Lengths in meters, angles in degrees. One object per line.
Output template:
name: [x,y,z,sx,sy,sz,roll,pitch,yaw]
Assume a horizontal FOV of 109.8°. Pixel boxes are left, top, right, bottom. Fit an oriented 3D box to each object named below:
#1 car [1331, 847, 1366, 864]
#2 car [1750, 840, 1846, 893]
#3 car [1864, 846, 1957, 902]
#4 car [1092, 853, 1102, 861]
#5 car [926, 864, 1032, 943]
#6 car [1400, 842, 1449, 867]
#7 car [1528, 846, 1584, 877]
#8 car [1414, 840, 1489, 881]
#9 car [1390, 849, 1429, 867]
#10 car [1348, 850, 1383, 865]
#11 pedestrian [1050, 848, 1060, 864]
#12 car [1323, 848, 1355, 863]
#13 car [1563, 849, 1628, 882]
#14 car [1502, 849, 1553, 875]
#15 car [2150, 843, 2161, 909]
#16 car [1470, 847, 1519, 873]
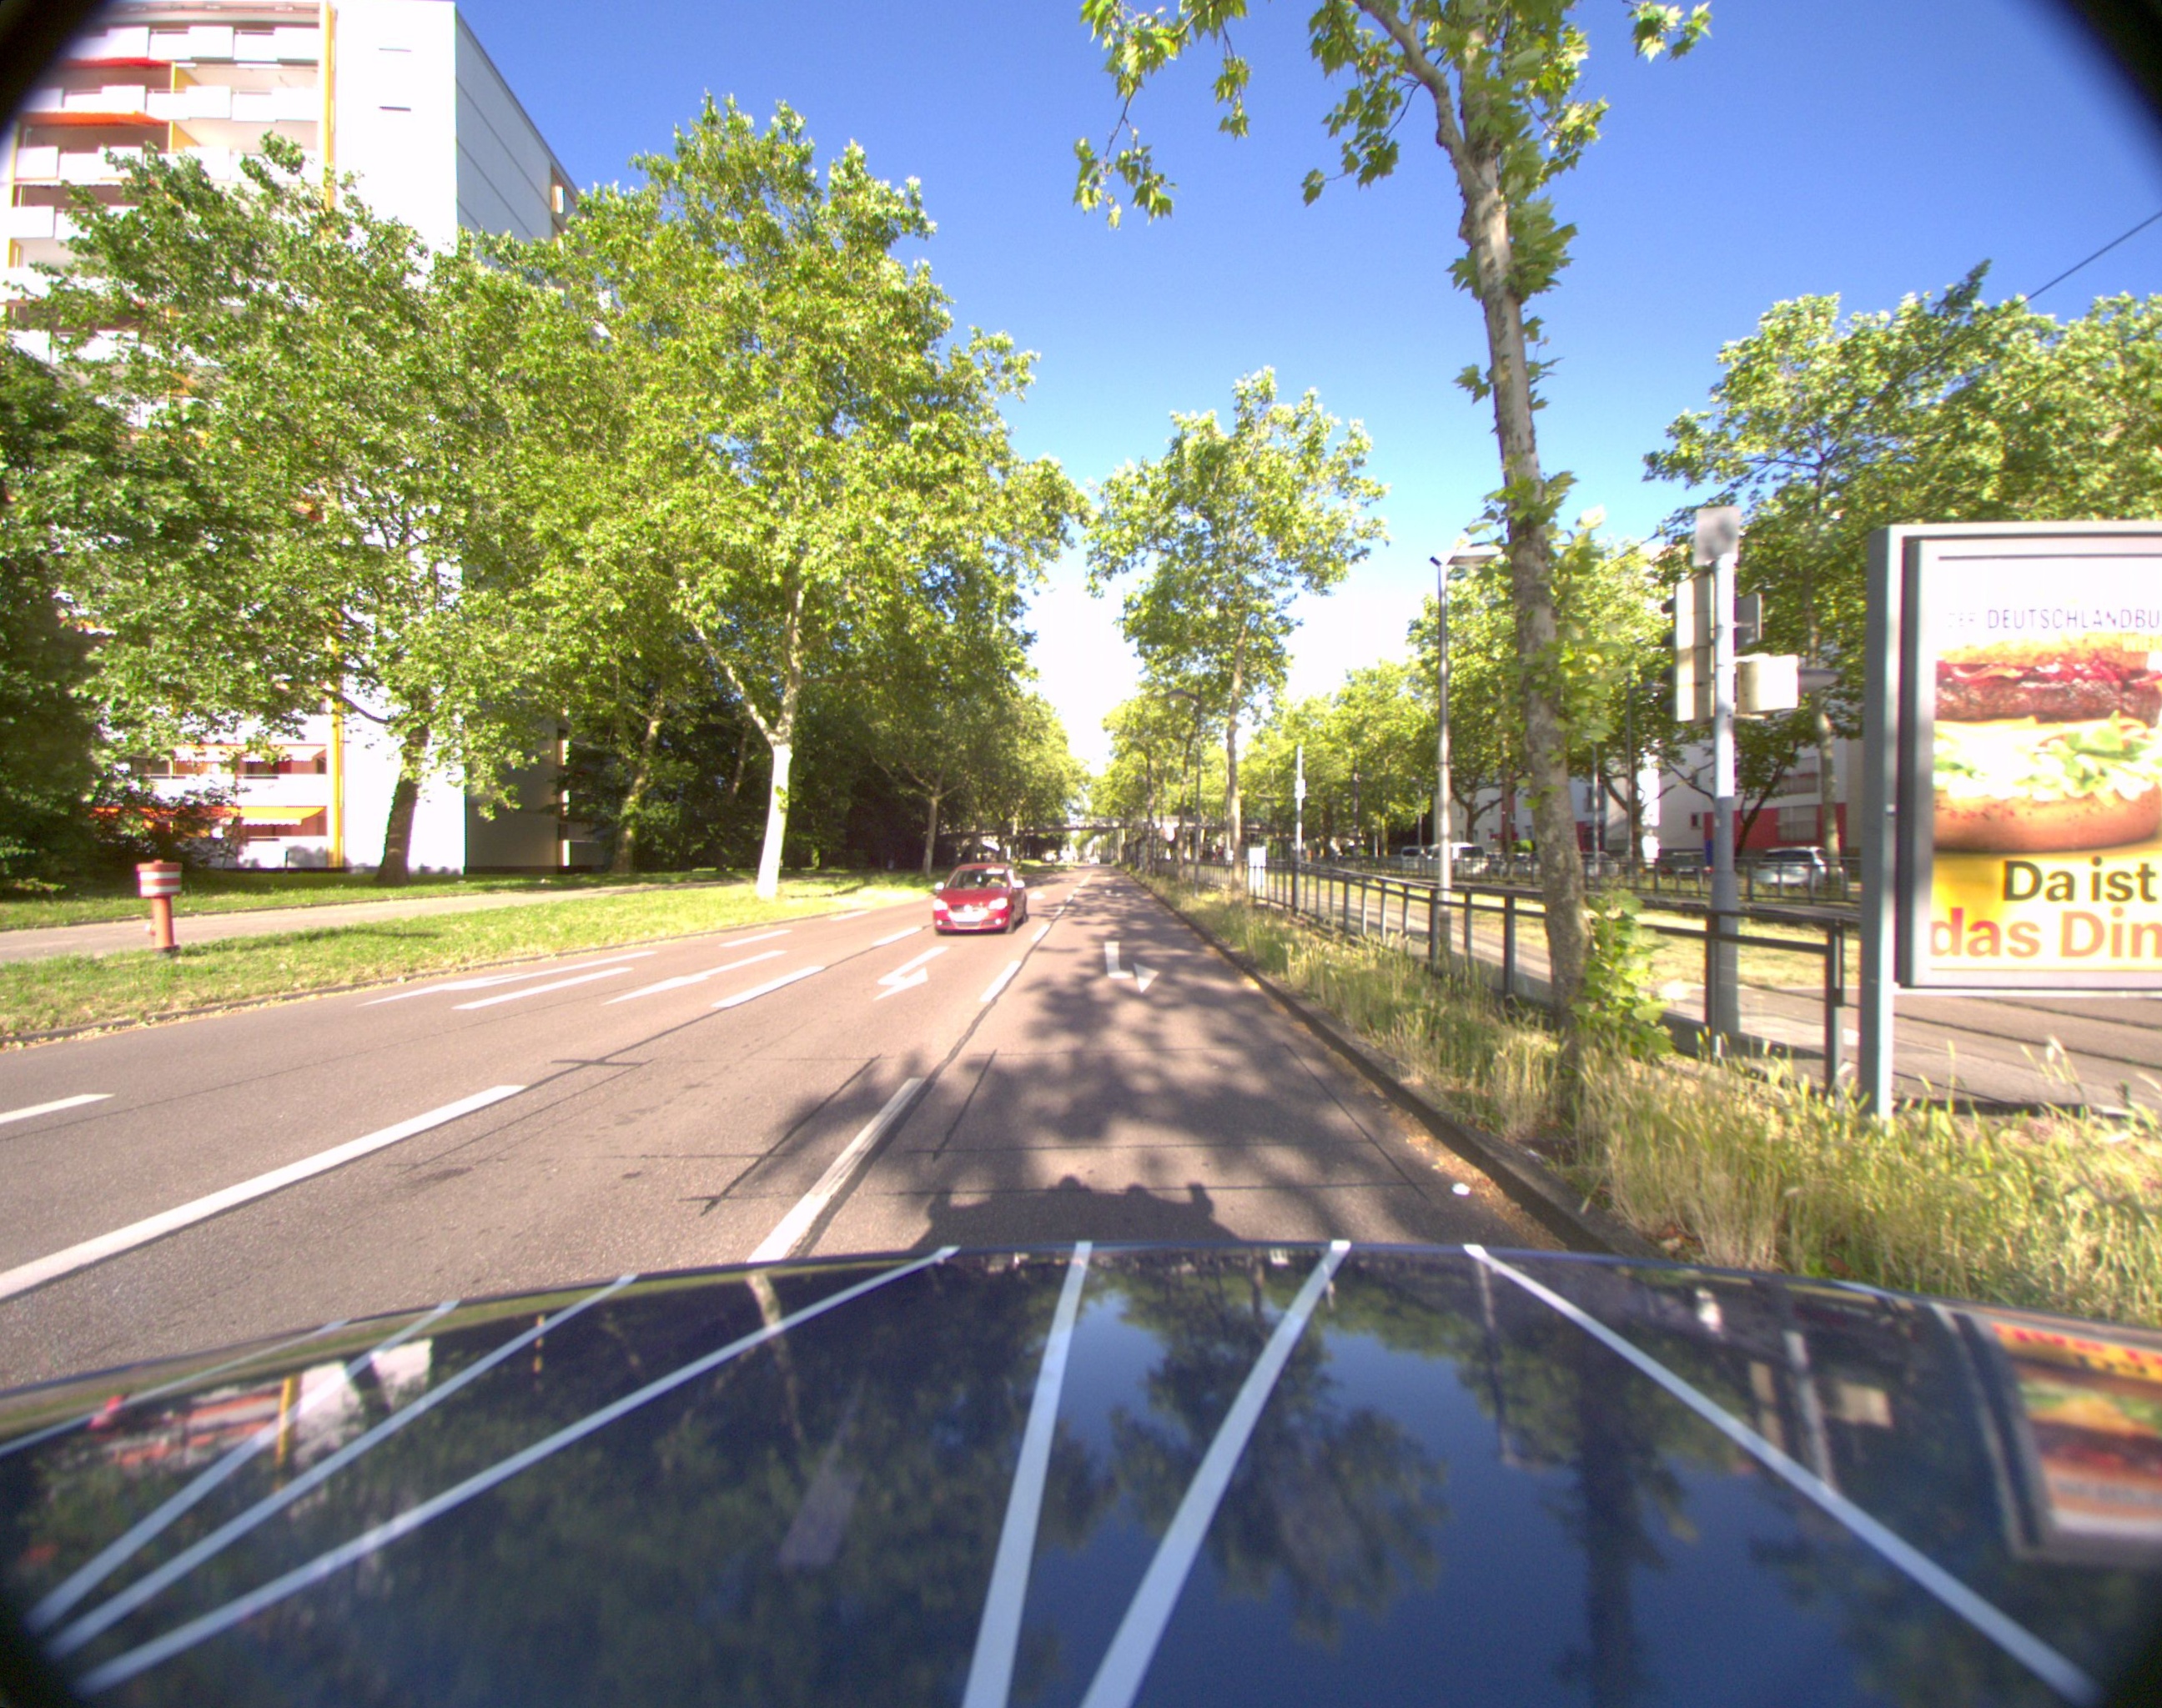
car: [25.854,0.176,73.332,3.835,1.561,1.597,-1,1,-43]
car: [25.290,0.404,26.772,4.007,1.586,1.810,-3,1,-37]
car: [25.143,0.558,22.993,3.770,1.420,1.555,-3,1,-37]
car: [3.267,0.674,152.965,1.798,1.465,3.999,-3,1,-1]
car: [-2.126,1.004,16.843,1.646,1.430,3.761,-2,1,2]
car: [25.820,0.051,57.054,4.056,1.802,1.864,-1,1,-41]
car: [25.794,0.412,41.230,3.402,1.499,1.461,-3,1,-37]
car: [19.339,0.327,39.883,1.795,1.980,4.653,-1,0,3]
car: [26.017,0.301,60.081,3.494,1.336,1.476,-1,0,-41]
car: [26.162,0.316,69.759,3.494,1.312,1.476,-1,0,-41]
pedestrian: [-3.470,0.275,103.244,0.917,2.002,0.963,-2,1,25]
car: [27.027,0.186,79.496,3.742,1.517,1.597,-1,1,-43]
car: [25.608,0.537,37.795,3.890,1.406,1.486,-3,1,-37]
car: [26.184,0.452,44.534,3.493,1.321,1.476,-3,0,-41]
car: [24.640,0.537,16.123,4.007,1.479,1.689,-3,1,-44]
car: [25.774,0.347,47.348,3.493,1.417,1.558,-3,-1,-42]
